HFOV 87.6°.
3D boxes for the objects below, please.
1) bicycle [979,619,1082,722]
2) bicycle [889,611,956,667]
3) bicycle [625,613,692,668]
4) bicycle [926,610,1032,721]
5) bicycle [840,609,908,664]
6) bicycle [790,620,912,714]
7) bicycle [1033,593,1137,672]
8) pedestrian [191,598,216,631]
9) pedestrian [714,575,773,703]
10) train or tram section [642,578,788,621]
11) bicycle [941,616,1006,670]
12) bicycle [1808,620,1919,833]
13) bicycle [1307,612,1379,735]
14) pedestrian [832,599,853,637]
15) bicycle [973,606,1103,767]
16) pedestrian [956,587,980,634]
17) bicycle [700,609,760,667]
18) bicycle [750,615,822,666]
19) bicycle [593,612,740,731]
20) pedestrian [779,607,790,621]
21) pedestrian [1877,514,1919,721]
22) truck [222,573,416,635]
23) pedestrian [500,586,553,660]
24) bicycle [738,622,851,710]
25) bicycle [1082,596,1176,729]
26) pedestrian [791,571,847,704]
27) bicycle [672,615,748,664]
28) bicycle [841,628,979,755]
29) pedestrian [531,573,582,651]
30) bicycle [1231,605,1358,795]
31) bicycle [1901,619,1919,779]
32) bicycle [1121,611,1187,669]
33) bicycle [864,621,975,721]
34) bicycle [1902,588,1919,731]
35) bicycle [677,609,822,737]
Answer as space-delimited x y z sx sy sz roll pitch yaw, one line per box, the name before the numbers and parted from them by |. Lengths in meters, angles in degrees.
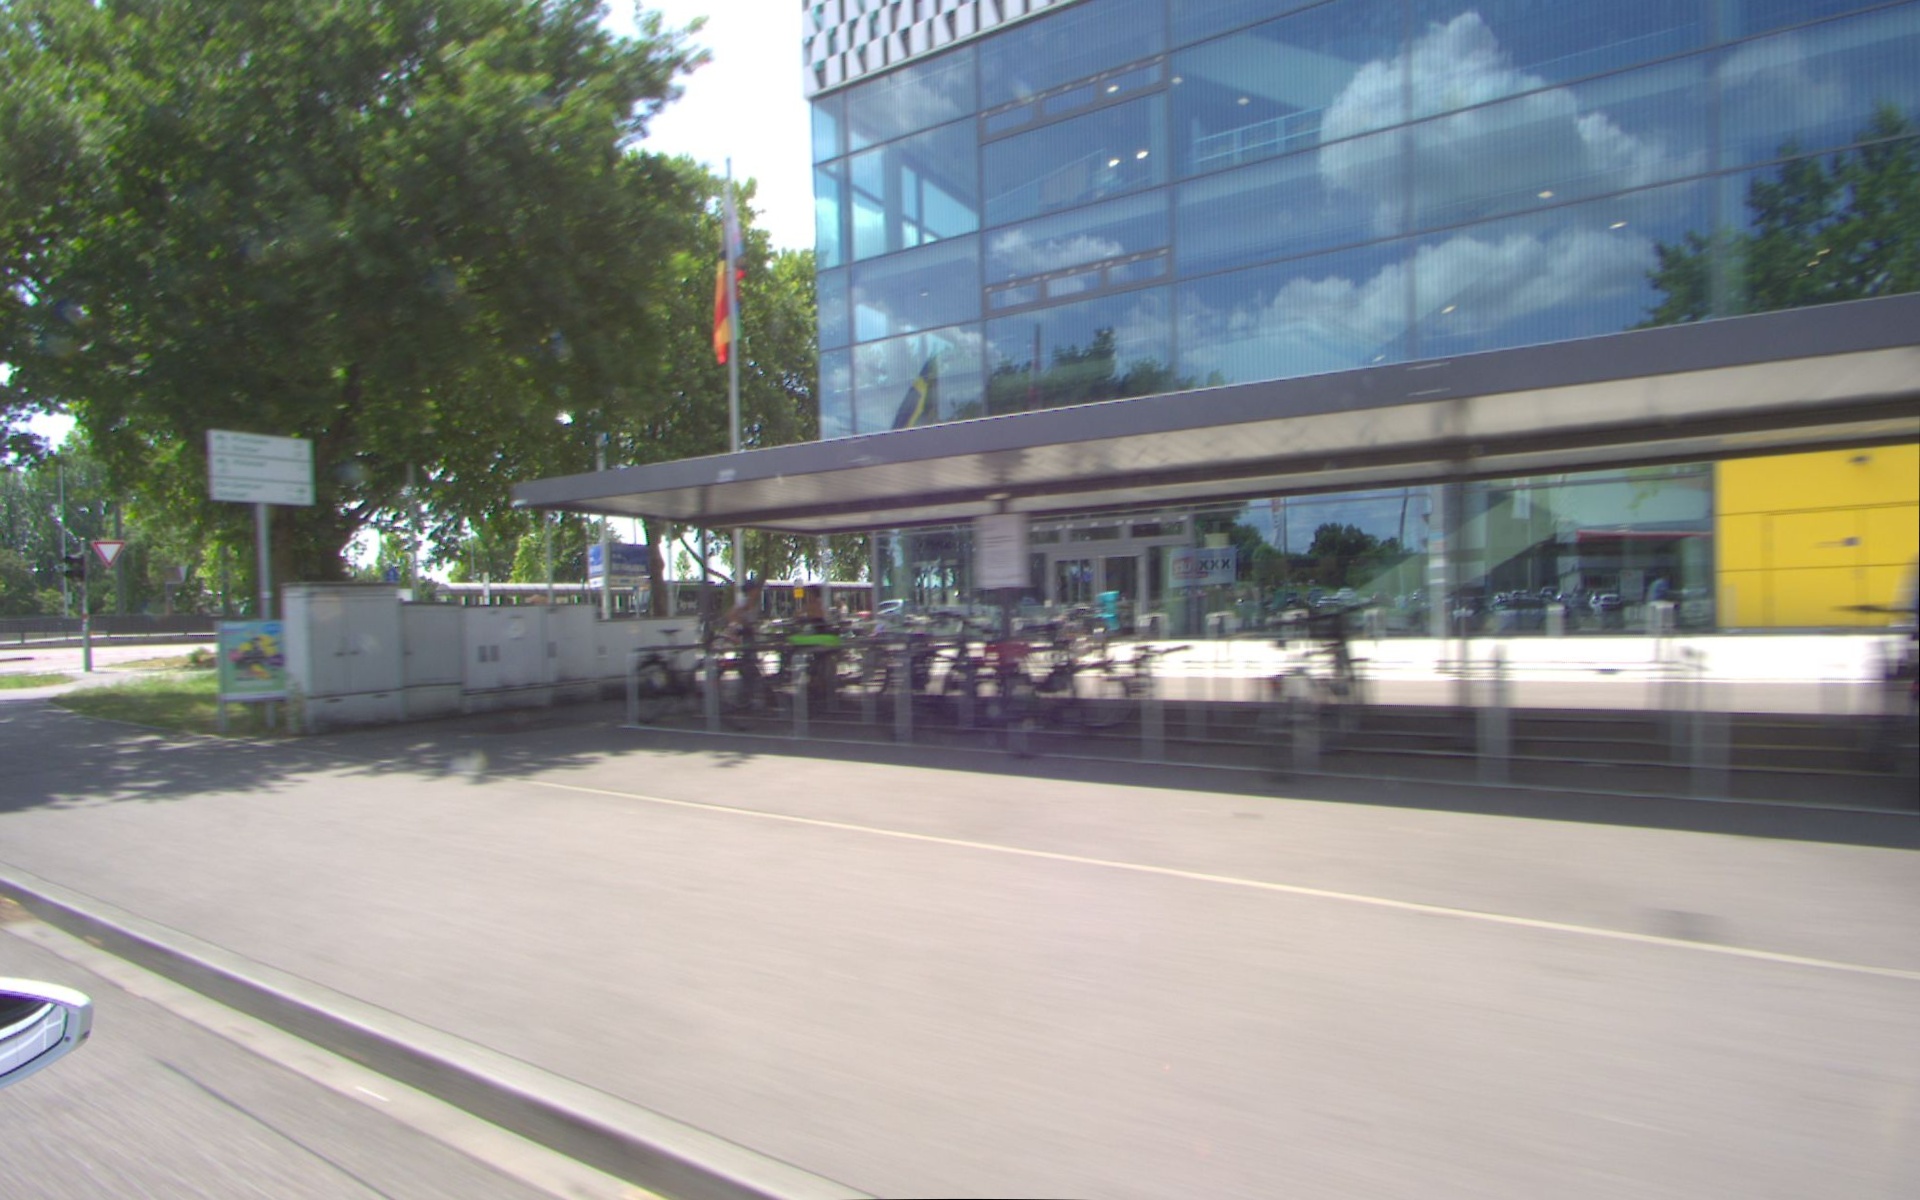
bicycle | 0.830 0.750 11.264 0.417 1.008 1.860 -2 0 27
bicycle | -0.704 0.738 19.502 0.417 1.008 1.860 -1 1 27
bicycle | -6.867 0.906 22.895 0.495 1.122 1.923 -3 0 14
bicycle | 0.261 0.705 11.562 0.417 1.131 1.860 -1 1 27
bicycle | -1.728 0.726 20.411 0.417 1.008 1.859 -2 1 27
bicycle | -1.327 0.800 12.580 0.418 1.048 1.857 0 1 33
bicycle | 2.212 0.524 17.462 0.713 1.246 2.128 0 2 42
pedestrian | -42.841 0.828 56.694 0.725 1.831 0.925 0 1 31
pedestrian | -2.921 0.511 13.508 0.540 1.684 0.541 0 1 43
train or tram section | -19.820 -0.004 82.486 3.001 3.227 14.040 -1 -1 29
bicycle | 0.276 0.778 18.831 0.417 0.894 1.860 -1 1 27
bicycle | 5.587 0.674 5.957 0.417 1.008 1.859 0 2 27
bicycle | 3.764 0.664 9.771 0.417 1.008 1.859 -2 1 27
pedestrian | -5.294 0.817 45.033 0.585 1.686 0.715 0 1 37
bicycle | 0.727 0.684 8.717 0.417 1.203 1.860 0 1 27
pedestrian | 0.303 0.385 36.737 0.789 1.685 0.703 -2 0 2
bicycle | -4.972 0.798 21.758 0.453 1.173 1.678 0 1 18
bicycle | -3.666 0.837 21.278 0.457 1.008 1.860 0 0 28
bicycle | -3.300 0.763 11.448 0.417 1.203 1.860 0 1 27
pedestrian | -14.537 1.161 83.081 0.685 1.206 0.639 1 1 31
pedestrian | 8.320 0.139 8.479 0.515 1.744 0.633 -3 1 -21
truck | -46.815 0.279 73.799 2.910 4.159 11.932 0 0 32
pedestrian | -11.560 0.603 26.691 1.000 1.927 0.965 -2 1 -43
bicycle | -2.130 0.830 13.160 0.417 1.008 1.860 0 1 27
bicycle | 1.822 0.607 10.573 0.417 1.248 1.860 0 1 27
pedestrian | -1.826 0.472 13.025 0.471 1.685 0.543 0 1 31
bicycle | -5.626 0.869 22.629 0.418 1.008 1.857 0 1 33
bicycle | -0.427 0.819 9.552 0.417 1.008 1.860 0 1 27
pedestrian | -11.211 0.321 27.829 1.000 2.100 0.965 -2 1 -43
bicycle | 2.538 0.664 7.472 0.418 1.186 1.890 0 2 33
bicycle | 6.010 0.659 5.724 0.417 1.008 1.859 0 2 27
bicycle | 3.336 0.657 17.095 0.464 0.893 1.857 0 1 32
bicycle | -0.431 0.785 11.681 0.417 1.008 1.860 0 1 27
bicycle | 8.592 0.437 8.107 1.980 1.123 0.575 -2 2 -20
bicycle | -2.203 0.725 10.753 0.417 1.203 1.860 0 1 27
